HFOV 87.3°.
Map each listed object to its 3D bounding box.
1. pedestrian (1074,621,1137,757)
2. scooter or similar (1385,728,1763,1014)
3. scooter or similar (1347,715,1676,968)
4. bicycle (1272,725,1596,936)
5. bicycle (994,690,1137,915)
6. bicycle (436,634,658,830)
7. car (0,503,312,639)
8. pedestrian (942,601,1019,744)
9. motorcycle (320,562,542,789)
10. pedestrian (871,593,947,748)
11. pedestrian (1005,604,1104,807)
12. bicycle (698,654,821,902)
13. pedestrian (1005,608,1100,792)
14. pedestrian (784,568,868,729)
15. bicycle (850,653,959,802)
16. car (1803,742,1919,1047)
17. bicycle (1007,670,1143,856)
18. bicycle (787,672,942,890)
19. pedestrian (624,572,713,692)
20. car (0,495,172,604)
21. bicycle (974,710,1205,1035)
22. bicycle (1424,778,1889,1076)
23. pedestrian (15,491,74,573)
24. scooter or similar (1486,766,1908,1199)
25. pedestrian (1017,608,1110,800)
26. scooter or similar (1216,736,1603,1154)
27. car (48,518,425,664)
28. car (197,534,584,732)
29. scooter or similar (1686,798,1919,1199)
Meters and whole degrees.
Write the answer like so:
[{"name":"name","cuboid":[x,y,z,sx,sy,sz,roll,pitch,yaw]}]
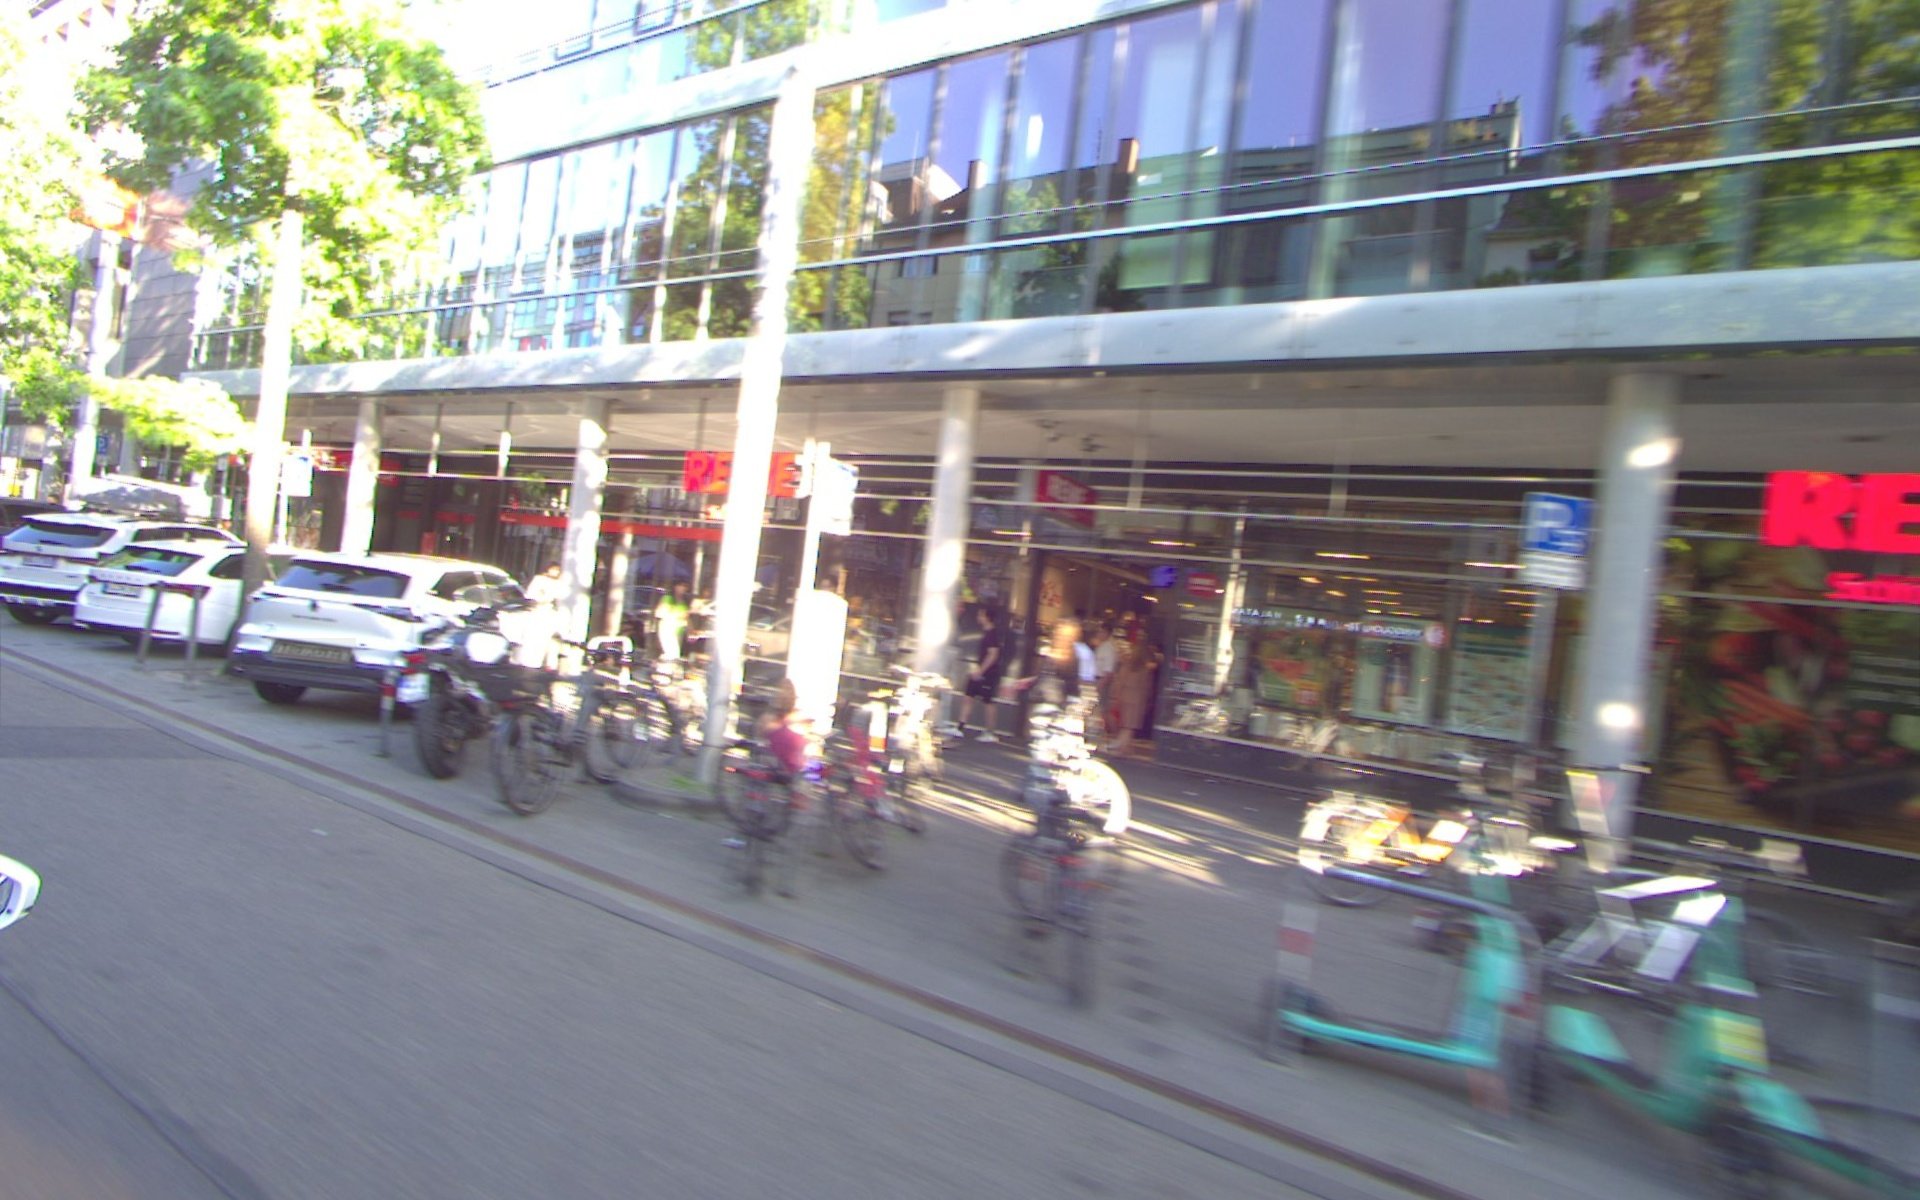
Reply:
[{"name":"pedestrian","cuboid":[1.989,1.197,13.811,0.588,1.765,0.626,7,0,2]},{"name":"scooter or similar","cuboid":[3.426,1.503,5.694,1.650,1.310,0.631,6,2,-5]},{"name":"scooter or similar","cuboid":[3.426,1.495,6.317,1.650,1.310,0.562,6,2,-5]},{"name":"bicycle","cuboid":[3.234,1.569,6.957,1.855,1.145,0.626,6,1,-4]},{"name":"bicycle","cuboid":[0.663,1.285,6.839,0.719,1.089,1.673,7,1,2]},{"name":"bicycle","cuboid":[-2.917,0.873,7.352,0.655,1.134,1.897,6,0,4]},{"name":"car","cuboid":[-12.128,-0.398,15.093,1.849,1.607,4.248,6,0,1]},{"name":"pedestrian","cuboid":[0.270,0.944,13.163,0.590,1.765,0.625,7,1,31]},{"name":"motorcycle","cuboid":[-4.177,0.519,8.194,0.845,1.529,2.314,5,0,-11]},{"name":"pedestrian","cuboid":[-0.608,0.837,12.100,0.516,1.773,0.557,7,2,32]},{"name":"pedestrian","cuboid":[0.875,0.942,9.173,0.540,1.716,0.681,7,-1,20]},{"name":"bicycle","cuboid":[-1.290,1.019,6.250,0.474,1.178,1.688,5,1,-18]},{"name":"pedestrian","cuboid":[0.920,0.984,9.968,0.542,1.716,0.517,7,-1,37]},{"name":"pedestrian","cuboid":[-1.698,0.607,12.774,0.653,1.943,0.583,7,2,34]},{"name":"bicycle","cuboid":[-0.481,1.138,9.497,0.620,1.120,1.778,6,1,7]},{"name":"car","cuboid":[6.106,1.704,3.402,1.941,1.487,5.056,6,1,-3]},{"name":"bicycle","cuboid":[0.886,1.263,8.165,0.852,1.188,1.269,7,2,2]},{"name":"bicycle","cuboid":[-0.592,1.140,6.853,0.620,1.120,1.694,6,1,6]},{"name":"pedestrian","cuboid":[-4.305,0.477,14.860,0.868,1.644,0.714,7,0,34]},{"name":"car","cuboid":[-15.617,-0.861,16.552,1.663,1.673,4.355,6,0,1]},{"name":"bicycle","cuboid":[0.584,1.256,5.099,0.853,1.102,1.562,7,1,2]},{"name":"bicycle","cuboid":[3.350,1.571,4.919,1.816,1.122,0.551,6,2,-4]},{"name":"pedestrian","cuboid":[-20.806,-1.523,22.878,0.678,1.753,0.630,6,1,-16]},{"name":"scooter or similar","cuboid":[2.725,1.430,3.916,0.554,1.293,1.306,5,2,1]},{"name":"pedestrian","cuboid":[1.017,0.996,9.857,0.550,1.773,0.523,7,2,34]},{"name":"scooter or similar","cuboid":[1.824,1.326,4.175,1.285,1.293,0.451,6,3,32]},{"name":"car","cuboid":[-9.562,-0.077,13.791,1.656,1.518,4.161,6,0,9]},{"name":"car","cuboid":[-5.935,0.298,11.182,1.820,1.591,4.158,7,0,0]},{"name":"scooter or similar","cuboid":[3.468,1.497,3.569,0.452,1.293,1.300,4,2,-20]}]
